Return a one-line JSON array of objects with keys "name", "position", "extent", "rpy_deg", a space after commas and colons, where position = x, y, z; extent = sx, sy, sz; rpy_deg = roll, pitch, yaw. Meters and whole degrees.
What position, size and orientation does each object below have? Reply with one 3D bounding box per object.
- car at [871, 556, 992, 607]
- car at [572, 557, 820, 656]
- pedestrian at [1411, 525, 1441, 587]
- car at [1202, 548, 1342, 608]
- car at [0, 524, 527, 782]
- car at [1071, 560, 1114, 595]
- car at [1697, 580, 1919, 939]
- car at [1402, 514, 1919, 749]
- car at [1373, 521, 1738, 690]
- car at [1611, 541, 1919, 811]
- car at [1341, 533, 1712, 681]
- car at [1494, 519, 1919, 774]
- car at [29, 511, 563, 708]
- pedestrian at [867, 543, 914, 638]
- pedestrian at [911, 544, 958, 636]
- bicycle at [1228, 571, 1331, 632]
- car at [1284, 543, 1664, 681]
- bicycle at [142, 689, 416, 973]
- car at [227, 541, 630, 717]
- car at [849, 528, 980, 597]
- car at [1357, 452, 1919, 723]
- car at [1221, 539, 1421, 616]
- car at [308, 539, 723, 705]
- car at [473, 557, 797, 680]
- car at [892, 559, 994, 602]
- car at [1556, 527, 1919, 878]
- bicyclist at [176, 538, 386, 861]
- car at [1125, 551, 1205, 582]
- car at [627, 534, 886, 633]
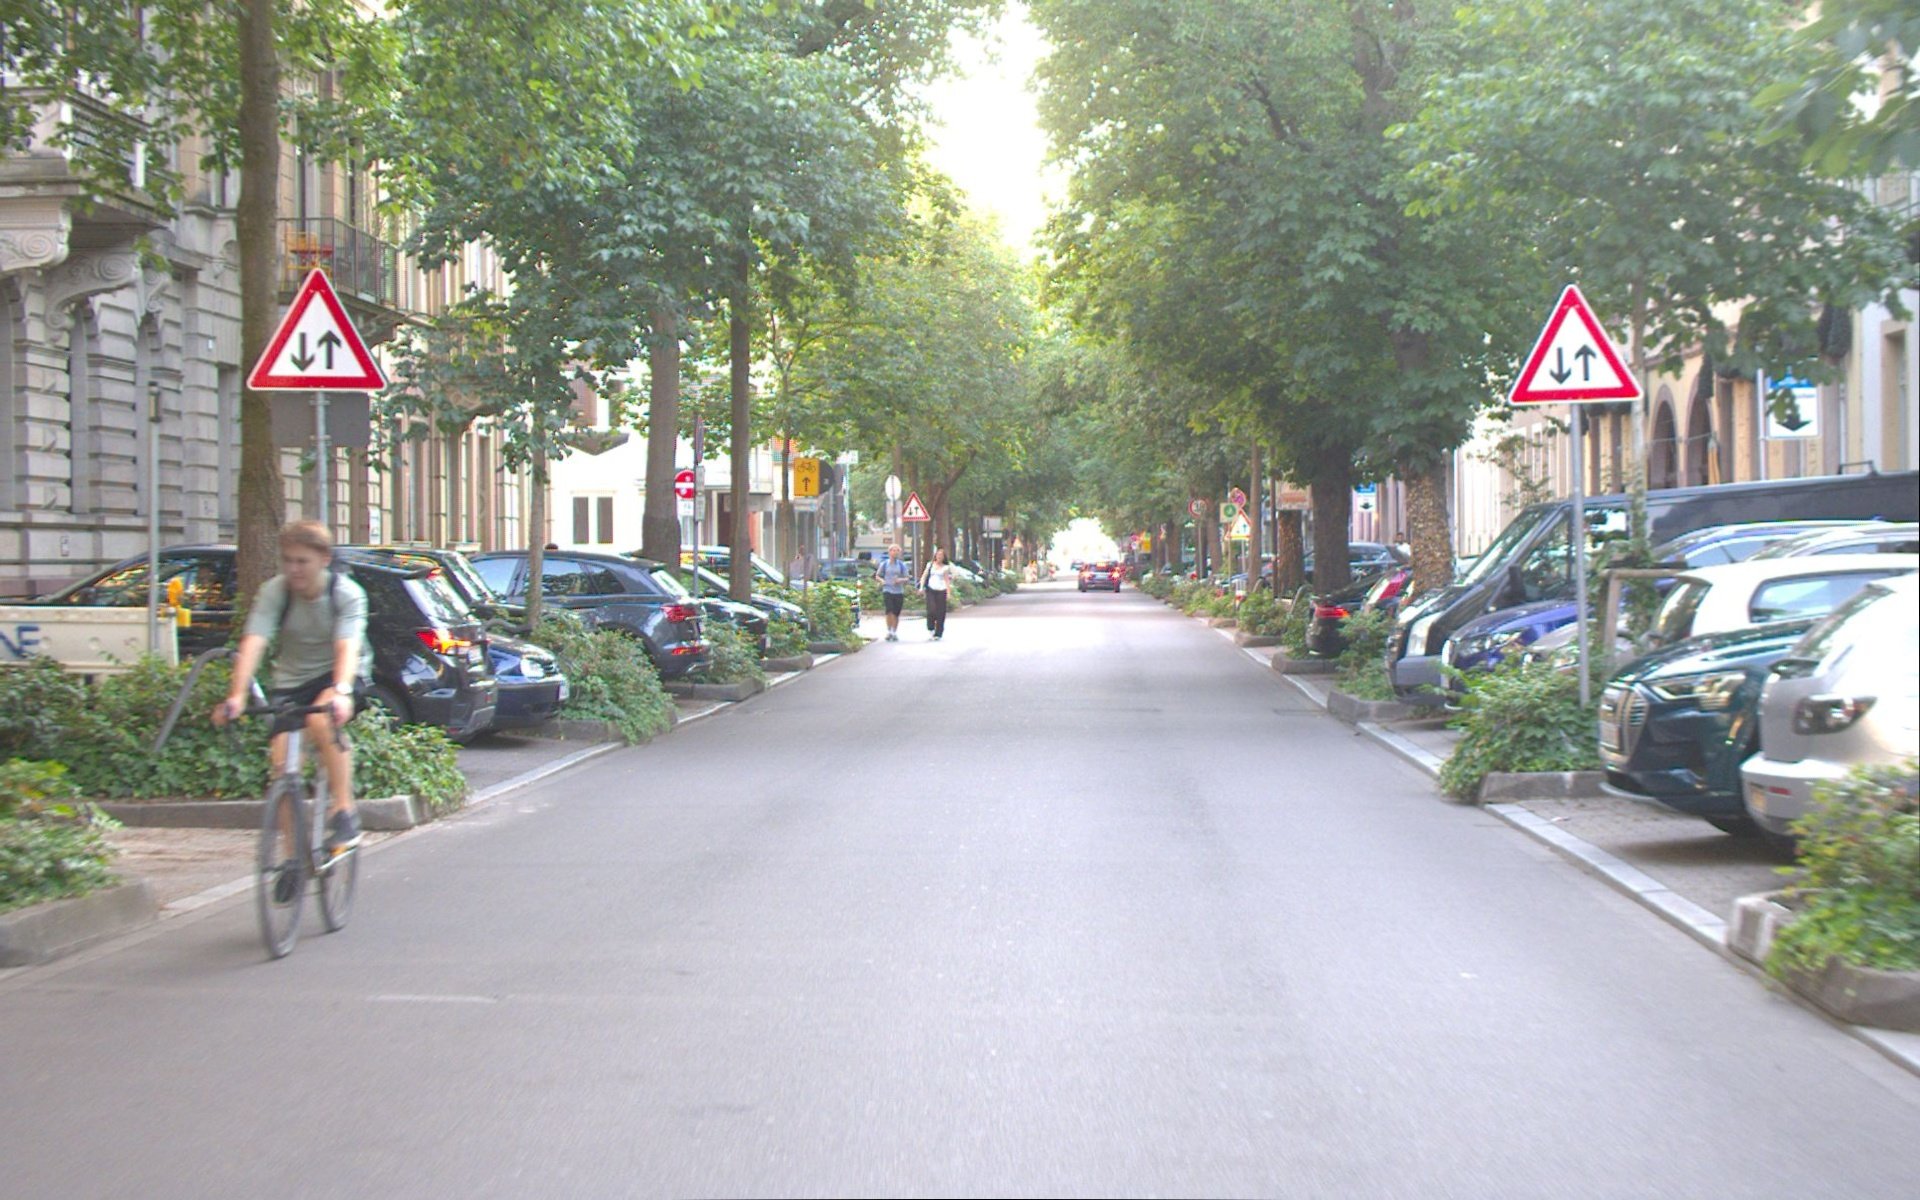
[{"name": "car", "position": [-1.125, -0.732, 138.230], "extent": [4.682, 1.848, 1.963], "rpy_deg": [-2, 0, 2]}, {"name": "car", "position": [-4.135, 0.089, 54.245], "extent": [3.692, 1.453, 1.872], "rpy_deg": [1, 1, 2]}, {"name": "pedestrian", "position": [11.680, -1.112, 86.193], "extent": [0.655, 1.531, 0.831], "rpy_deg": [-1, 0, 3]}, {"name": "car", "position": [8.155, -0.581, 90.059], "extent": [3.483, 1.447, 1.899], "rpy_deg": [-2, 1, 0]}, {"name": "car", "position": [-5.306, 0.347, 24.979], "extent": [3.965, 1.591, 1.780], "rpy_deg": [3, 1, 3]}, {"name": "car", "position": [6.269, -1.065, 162.421], "extent": [1.956, 1.560, 4.282], "rpy_deg": [-2, 0, 2]}, {"name": "car", "position": [5.479, 0.560, 15.129], "extent": [4.075, 1.424, 1.818], "rpy_deg": [-4, 0, 5]}, {"name": "car", "position": [5.804, 0.226, 27.696], "extent": [4.155, 1.573, 1.970], "rpy_deg": [-4, 0, 1]}, {"name": "car", "position": [6.505, 0.051, 37.819], "extent": [3.680, 1.573, 1.714], "rpy_deg": [-4, 0, 3]}, {"name": "car", "position": [5.921, 0.352, 20.250], "extent": [3.793, 1.418, 1.697], "rpy_deg": [-4, 0, 1]}, {"name": "car", "position": [6.608, 0.077, 40.429], "extent": [3.987, 1.433, 1.926], "rpy_deg": [-4, 0, 1]}, {"name": "car", "position": [5.975, 0.274, 24.576], "extent": [3.965, 1.573, 1.851], "rpy_deg": [-4, 0, 1]}, {"name": "car", "position": [-5.415, 0.049, 28.339], "extent": [3.965, 1.382, 1.765], "rpy_deg": [3, 2, 3]}, {"name": "pedestrian", "position": [-1.289, -0.186, 63.729], "extent": [0.794, 1.731, 0.831], "rpy_deg": [-1, 0, 2]}, {"name": "pedestrian", "position": [-0.466, -0.189, 63.478], "extent": [0.794, 1.665, 0.831], "rpy_deg": [-1, 0, 2]}, {"name": "bicycle", "position": [6.197, 0.026, 66.714], "extent": [1.837, 1.132, 0.745], "rpy_deg": [-2, 1, -8]}, {"name": "car", "position": [6.368, 0.141, 42.952], "extent": [4.400, 1.389, 1.885], "rpy_deg": [-4, 0, 0]}, {"name": "bicycle", "position": [-2.716, 0.896, 13.882], "extent": [0.672, 0.990, 1.758], "rpy_deg": [-1, 1, 3]}, {"name": "car", "position": [-5.377, 0.269, 35.074], "extent": [3.801, 1.666, 1.714], "rpy_deg": [1, 1, 1]}, {"name": "car", "position": [-1.659, -1.368, 125.804], "extent": [4.682, 2.469, 2.000], "rpy_deg": [0, 0, 2]}, {"name": "car", "position": [6.012, -0.119, 30.367], "extent": [4.689, 2.004, 2.037], "rpy_deg": [-4, 0, 2]}, {"name": "car", "position": [8.202, -0.513, 78.352], "extent": [4.426, 1.650, 1.899], "rpy_deg": [-1, 1, 4]}, {"name": "car", "position": [-4.793, 0.217, 37.473], "extent": [4.201, 1.666, 1.907], "rpy_deg": [1, 1, 3]}, {"name": "car", "position": [-4.152, 0.231, 44.395], "extent": [3.945, 1.527, 1.907], "rpy_deg": [0, 0, 2]}, {"name": "car", "position": [-0.708, -0.830, 145.943], "extent": [4.203, 1.630, 1.963], "rpy_deg": [-2, 0, 2]}, {"name": "car", "position": [5.509, 0.380, 17.377], "extent": [4.590, 1.573, 1.944], "rpy_deg": [-4, 0, 1]}, {"name": "bicyclist", "position": [-2.717, 0.384, 13.811], "extent": [0.672, 1.259, 0.648], "rpy_deg": [-1, 1, 3]}, {"name": "car", "position": [11.228, -1.830, 188.224], "extent": [4.268, 1.560, 1.963], "rpy_deg": [-2, 0, 2]}, {"name": "car", "position": [-3.623, -0.307, 61.624], "extent": [4.426, 1.645, 1.872], "rpy_deg": [1, 1, 3]}]
